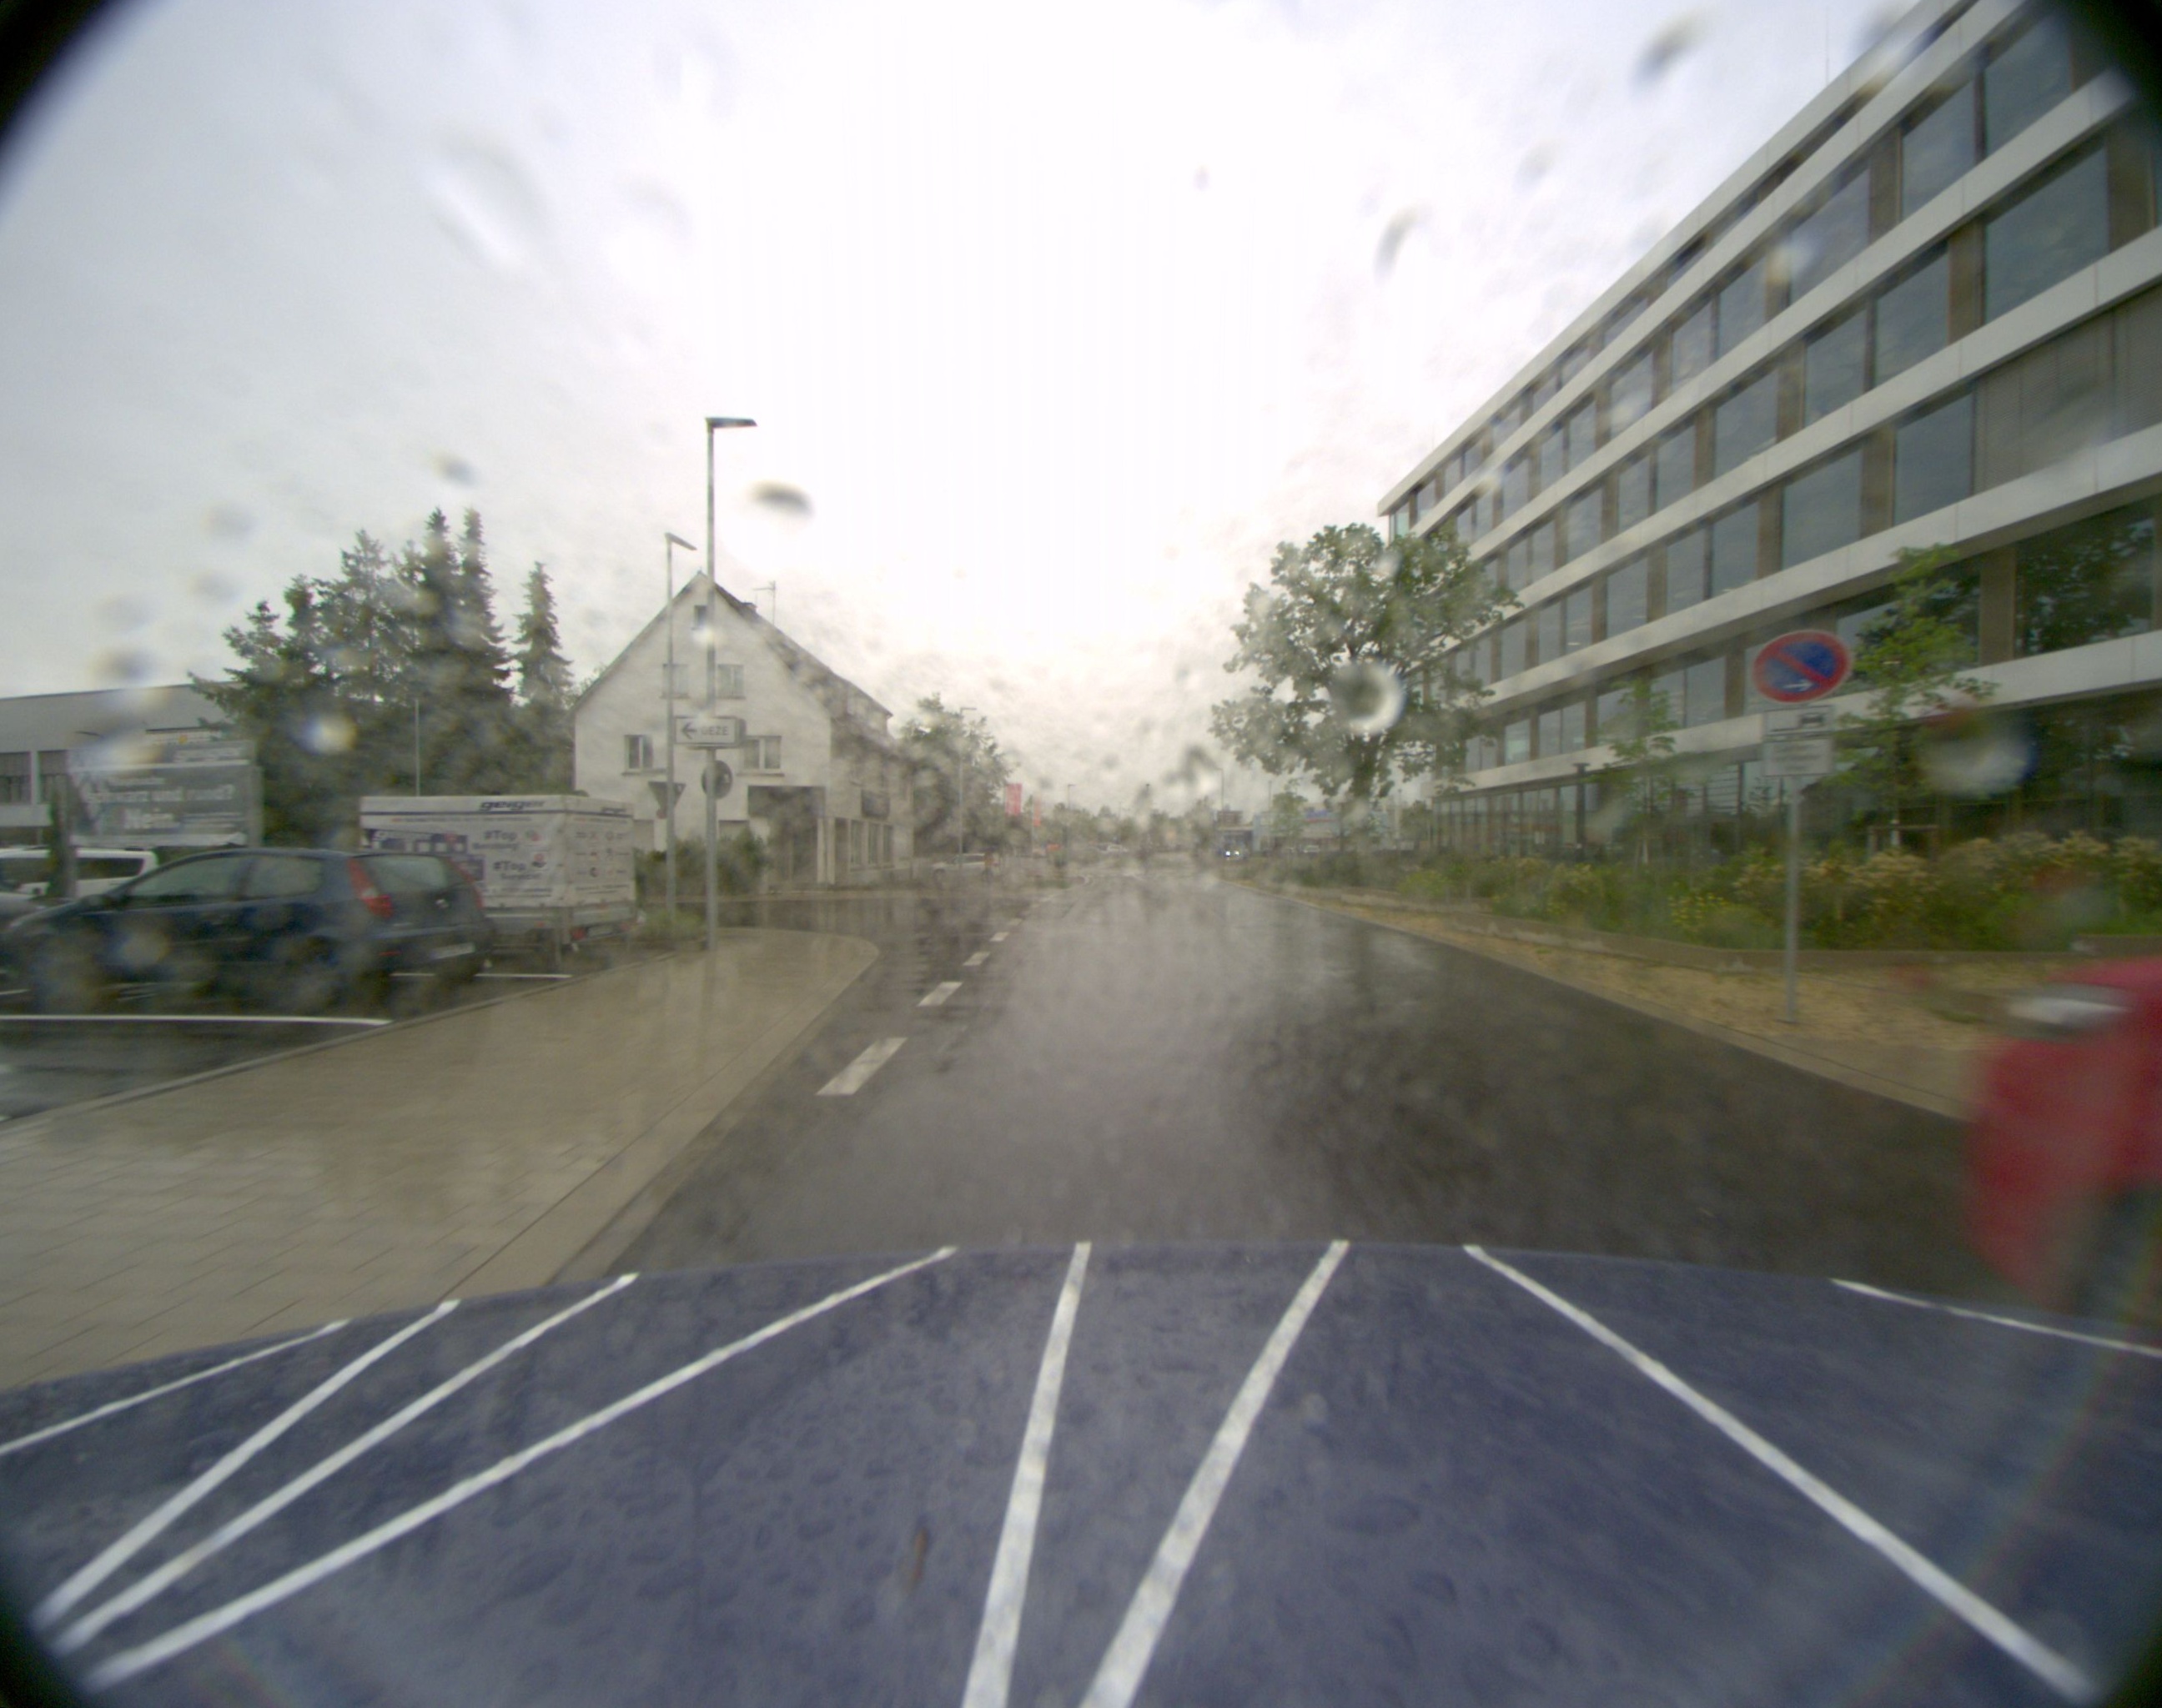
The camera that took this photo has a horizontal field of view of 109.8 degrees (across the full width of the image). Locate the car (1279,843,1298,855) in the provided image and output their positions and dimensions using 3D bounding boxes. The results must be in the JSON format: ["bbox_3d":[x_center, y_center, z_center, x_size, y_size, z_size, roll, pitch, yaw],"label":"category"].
[{"bbox_3d":[28.988,-0.688,106.273,1.883,1.477,4.006,-3,0,25],"label":"car"}]

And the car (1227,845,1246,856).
[{"bbox_3d":[24.476,-0.567,119.434,1.916,1.521,4.007,-2,0,27],"label":"car"}]

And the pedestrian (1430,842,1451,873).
[{"bbox_3d":[20.256,0.181,42.824,0.726,1.694,0.956,-4,2,4],"label":"pedestrian"}]

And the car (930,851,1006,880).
[{"bbox_3d":[-6.601,0.657,44.239,4.144,1.571,1.997,2,0,-14],"label":"car"}]

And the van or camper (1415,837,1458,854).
[{"bbox_3d":[41.347,-1.019,88.416,4.371,1.751,1.891,-3,0,25],"label":"van or camper"}]

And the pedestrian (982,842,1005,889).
[{"bbox_3d":[-3.886,0.506,33.906,0.861,2.002,1.195,2,1,-1],"label":"pedestrian"}]

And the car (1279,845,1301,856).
[{"bbox_3d":[25.628,-0.421,93.170,1.883,1.288,4.006,-3,0,25],"label":"car"}]

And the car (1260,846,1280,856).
[{"bbox_3d":[26.540,-0.459,106.685,1.883,1.288,4.006,-3,0,25],"label":"car"}]

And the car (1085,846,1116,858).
[{"bbox_3d":[2.944,-0.284,112.623,4.095,1.696,2.004,0,0,28],"label":"car"}]

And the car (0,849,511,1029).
[{"bbox_3d":[-8.188,0.753,7.598,3.735,1.520,1.650,1,1,0],"label":"car"}]

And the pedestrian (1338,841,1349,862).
[{"bbox_3d":[25.099,-0.264,72.645,0.891,2.002,0.933,0,1,29],"label":"pedestrian"}]

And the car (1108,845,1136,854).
[{"bbox_3d":[6.601,-0.652,122.048,3.990,1.433,2.004,0,0,25],"label":"car"}]

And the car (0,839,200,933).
[{"bbox_3d":[-21.942,0.611,15.731,1.890,1.818,4.494,1,0,10],"label":"car"}]

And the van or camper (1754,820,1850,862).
[{"bbox_3d":[57.221,-0.967,60.394,5.090,3.070,2.003,-2,0,22],"label":"van or camper"}]

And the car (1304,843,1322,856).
[{"bbox_3d":[28.349,-0.538,92.626,1.790,1.543,4.006,0,0,21],"label":"car"}]

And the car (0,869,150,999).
[{"bbox_3d":[-12.986,0.830,8.165,3.736,1.307,1.692,0,0,-3],"label":"car"}]

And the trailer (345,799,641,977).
[{"bbox_3d":[-7.625,0.418,10.041,2.708,2.159,1.548,0,0,2],"label":"trailer"}]

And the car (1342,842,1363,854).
[{"bbox_3d":[32.375,-0.766,90.529,1.883,1.288,4.006,-3,0,25],"label":"car"}]
